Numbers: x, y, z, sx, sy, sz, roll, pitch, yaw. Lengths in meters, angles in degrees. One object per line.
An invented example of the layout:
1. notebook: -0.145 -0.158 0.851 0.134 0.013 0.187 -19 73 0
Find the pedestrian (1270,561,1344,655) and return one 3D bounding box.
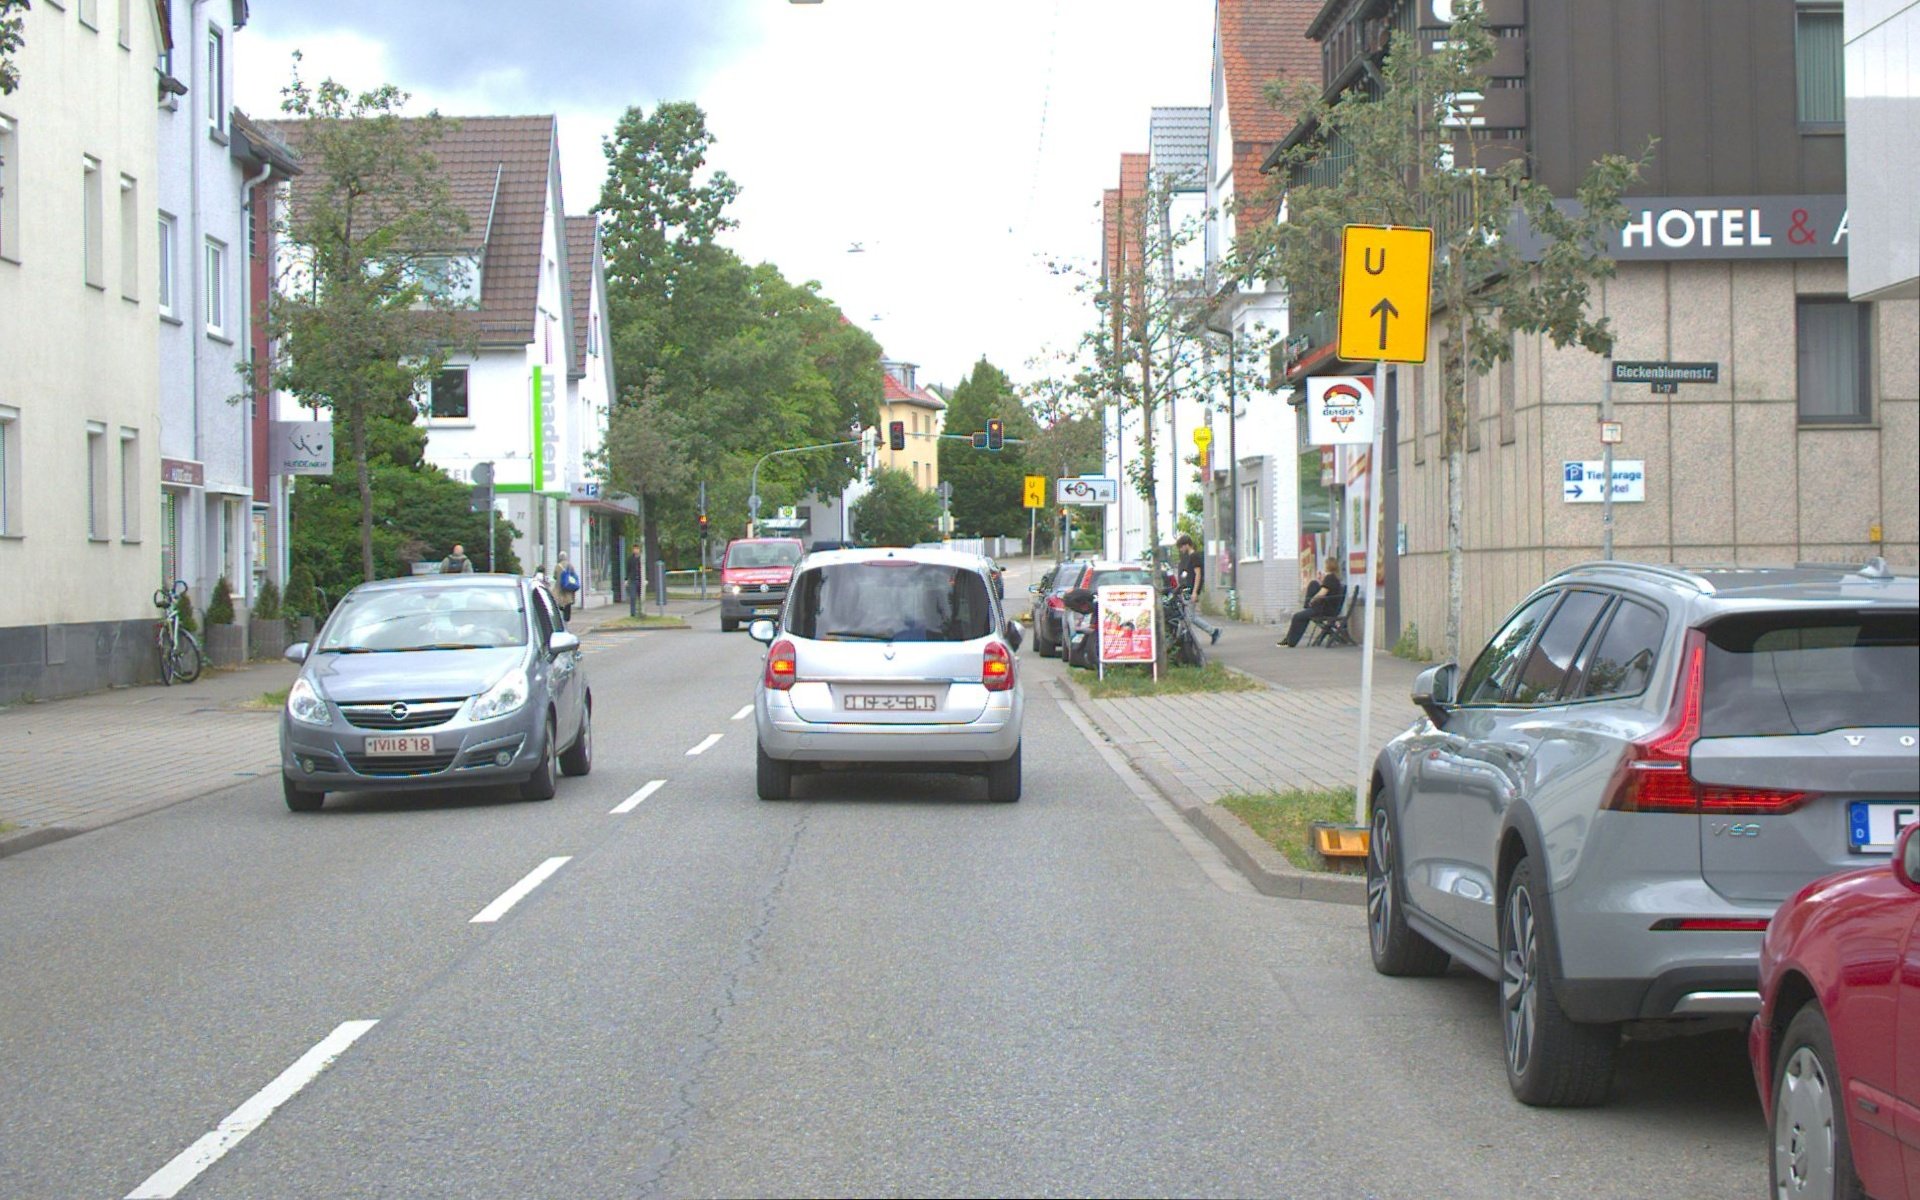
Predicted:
1. pedestrian: 5.019 0.115 49.810 0.887 1.296 0.966 -4 0 0

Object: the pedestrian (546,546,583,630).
1. pedestrian: -8.920 -0.267 77.573 0.762 1.869 0.696 0 0 -1

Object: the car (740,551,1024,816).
1. car: -0.462 0.486 22.583 1.682 1.560 3.993 1 0 0

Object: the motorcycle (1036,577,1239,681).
1. motorcycle: 2.327 0.377 44.912 2.707 1.331 0.700 0 0 -30

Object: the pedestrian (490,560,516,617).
1. pedestrian: -10.395 -0.259 78.187 0.492 1.273 0.588 0 0 0

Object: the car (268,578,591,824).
1. car: -3.443 0.603 22.924 1.682 1.442 4.020 -2 0 -3

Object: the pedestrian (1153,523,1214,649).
1. pedestrian: 3.448 -0.222 53.132 0.857 1.921 0.899 0 0 0

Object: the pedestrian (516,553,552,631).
1. pedestrian: -9.663 -0.188 77.986 0.716 1.750 0.696 0 0 -1

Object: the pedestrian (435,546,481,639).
1. pedestrian: -9.693 -0.142 66.436 0.762 1.785 0.890 0 0 -1

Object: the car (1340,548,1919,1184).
1. car: 2.365 0.635 10.585 1.876 1.534 4.513 0 0 0

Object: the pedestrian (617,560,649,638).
1. pedestrian: -7.946 -0.030 83.575 0.716 1.869 0.696 0 0 -1

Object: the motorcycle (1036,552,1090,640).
1. motorcycle: 1.967 -0.076 65.229 0.698 1.633 2.408 1 0 9

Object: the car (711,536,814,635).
1. car: -4.116 -0.312 72.023 1.952 2.007 4.000 0 0 -1

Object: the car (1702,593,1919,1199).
1. car: 2.552 0.735 4.958 1.755 1.441 4.455 1 0 -3

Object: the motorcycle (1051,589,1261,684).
1. motorcycle: 2.513 0.460 43.867 2.728 1.179 0.700 0 0 -30

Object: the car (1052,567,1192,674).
1. car: 2.228 0.261 48.060 1.700 1.425 3.891 0 0 -1

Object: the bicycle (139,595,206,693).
1. bicycle: -9.572 0.526 41.830 0.514 1.149 1.666 0 0 -3

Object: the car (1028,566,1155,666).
1. car: 1.984 0.222 52.871 1.700 1.462 4.239 0 0 -1
